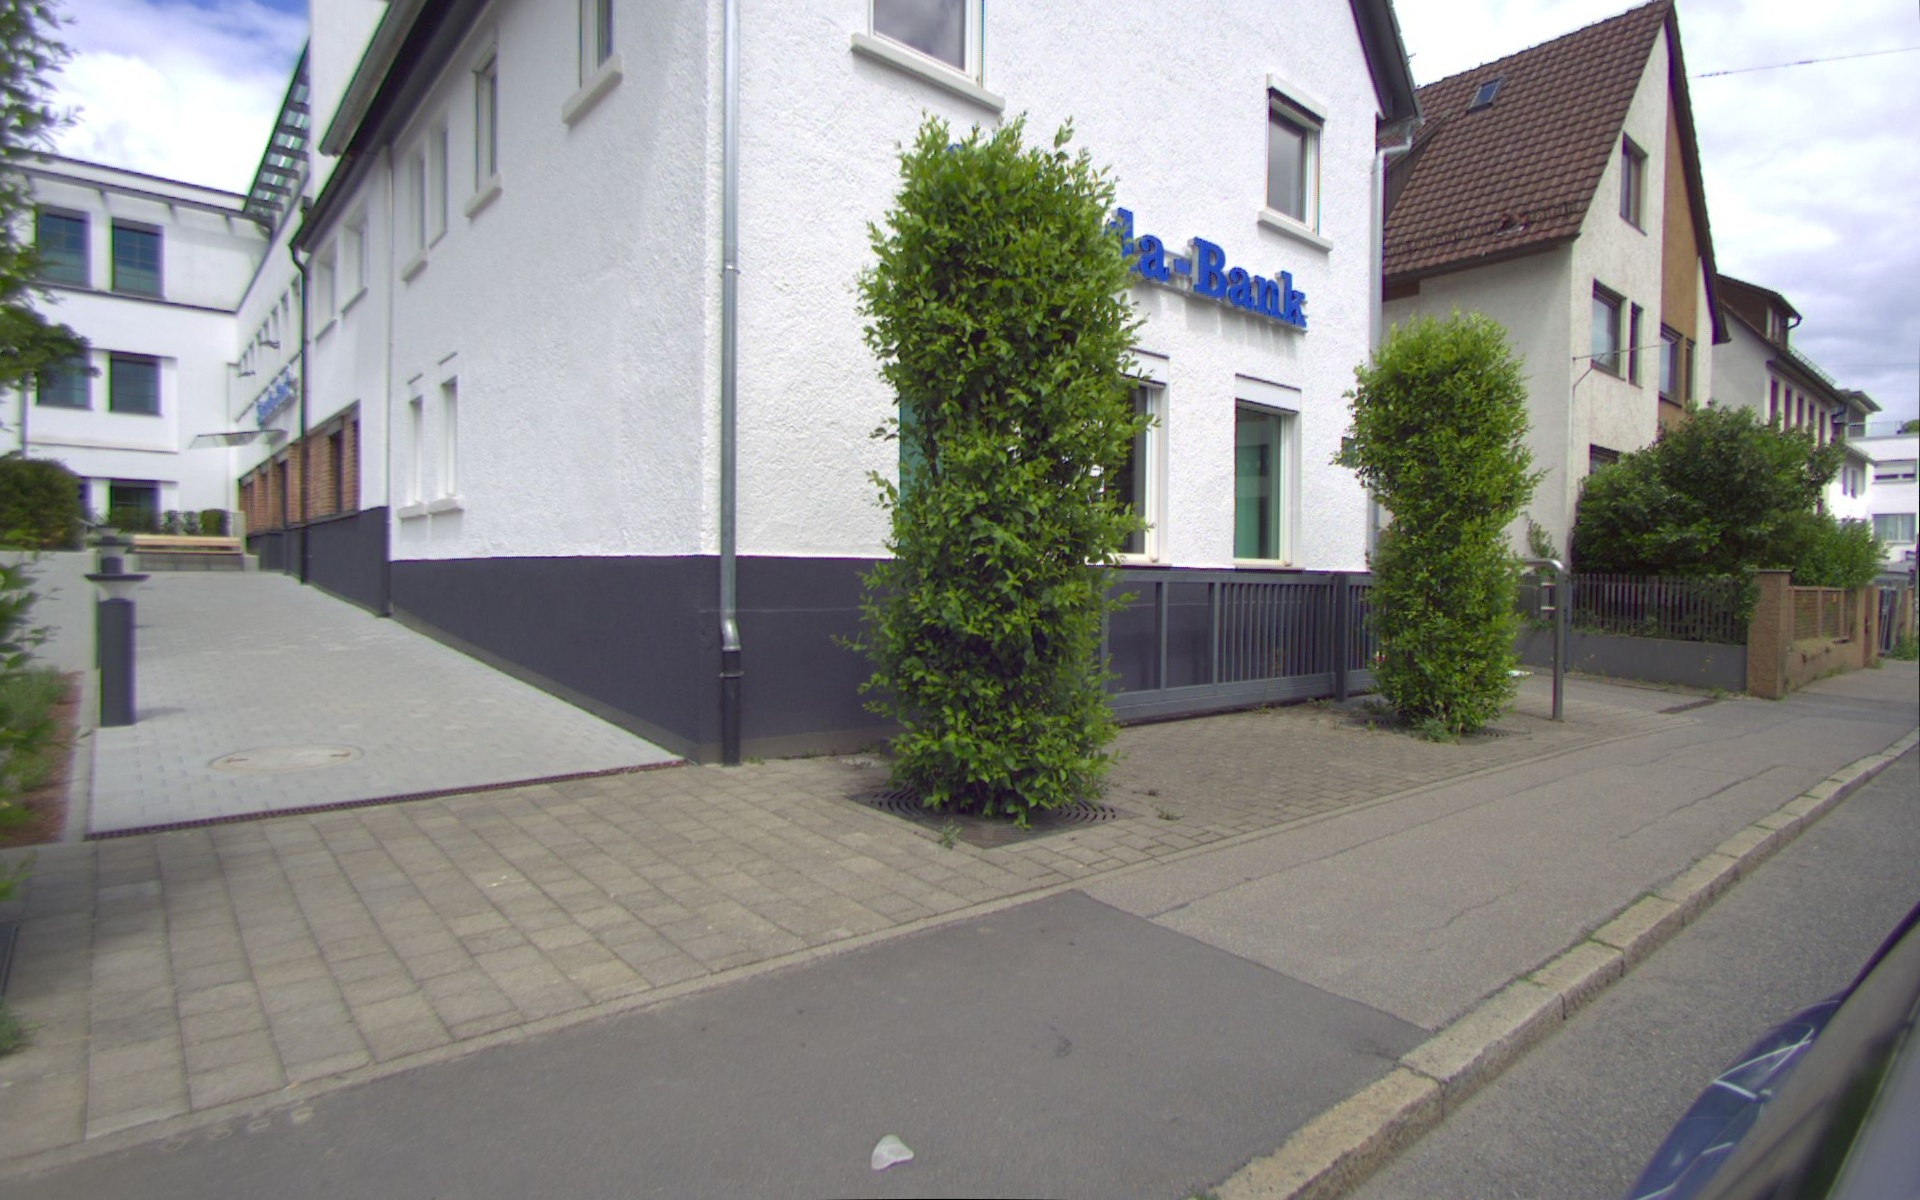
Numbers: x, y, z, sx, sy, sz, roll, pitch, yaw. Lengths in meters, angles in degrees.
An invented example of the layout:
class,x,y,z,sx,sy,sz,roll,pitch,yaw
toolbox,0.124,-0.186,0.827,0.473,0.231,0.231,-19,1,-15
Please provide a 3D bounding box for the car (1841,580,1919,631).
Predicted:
class,x,y,z,sx,sy,sz,roll,pitch,yaw
car,28.403,0.135,30.868,3.933,1.430,1.922,0,2,-44

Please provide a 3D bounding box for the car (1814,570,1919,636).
class,x,y,z,sx,sy,sz,roll,pitch,yaw
car,24.971,0.035,27.607,4.030,1.639,1.997,0,2,-42

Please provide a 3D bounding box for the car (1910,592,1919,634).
class,x,y,z,sx,sy,sz,roll,pitch,yaw
car,34.894,0.446,35.765,3.932,1.439,1.654,0,2,-43
